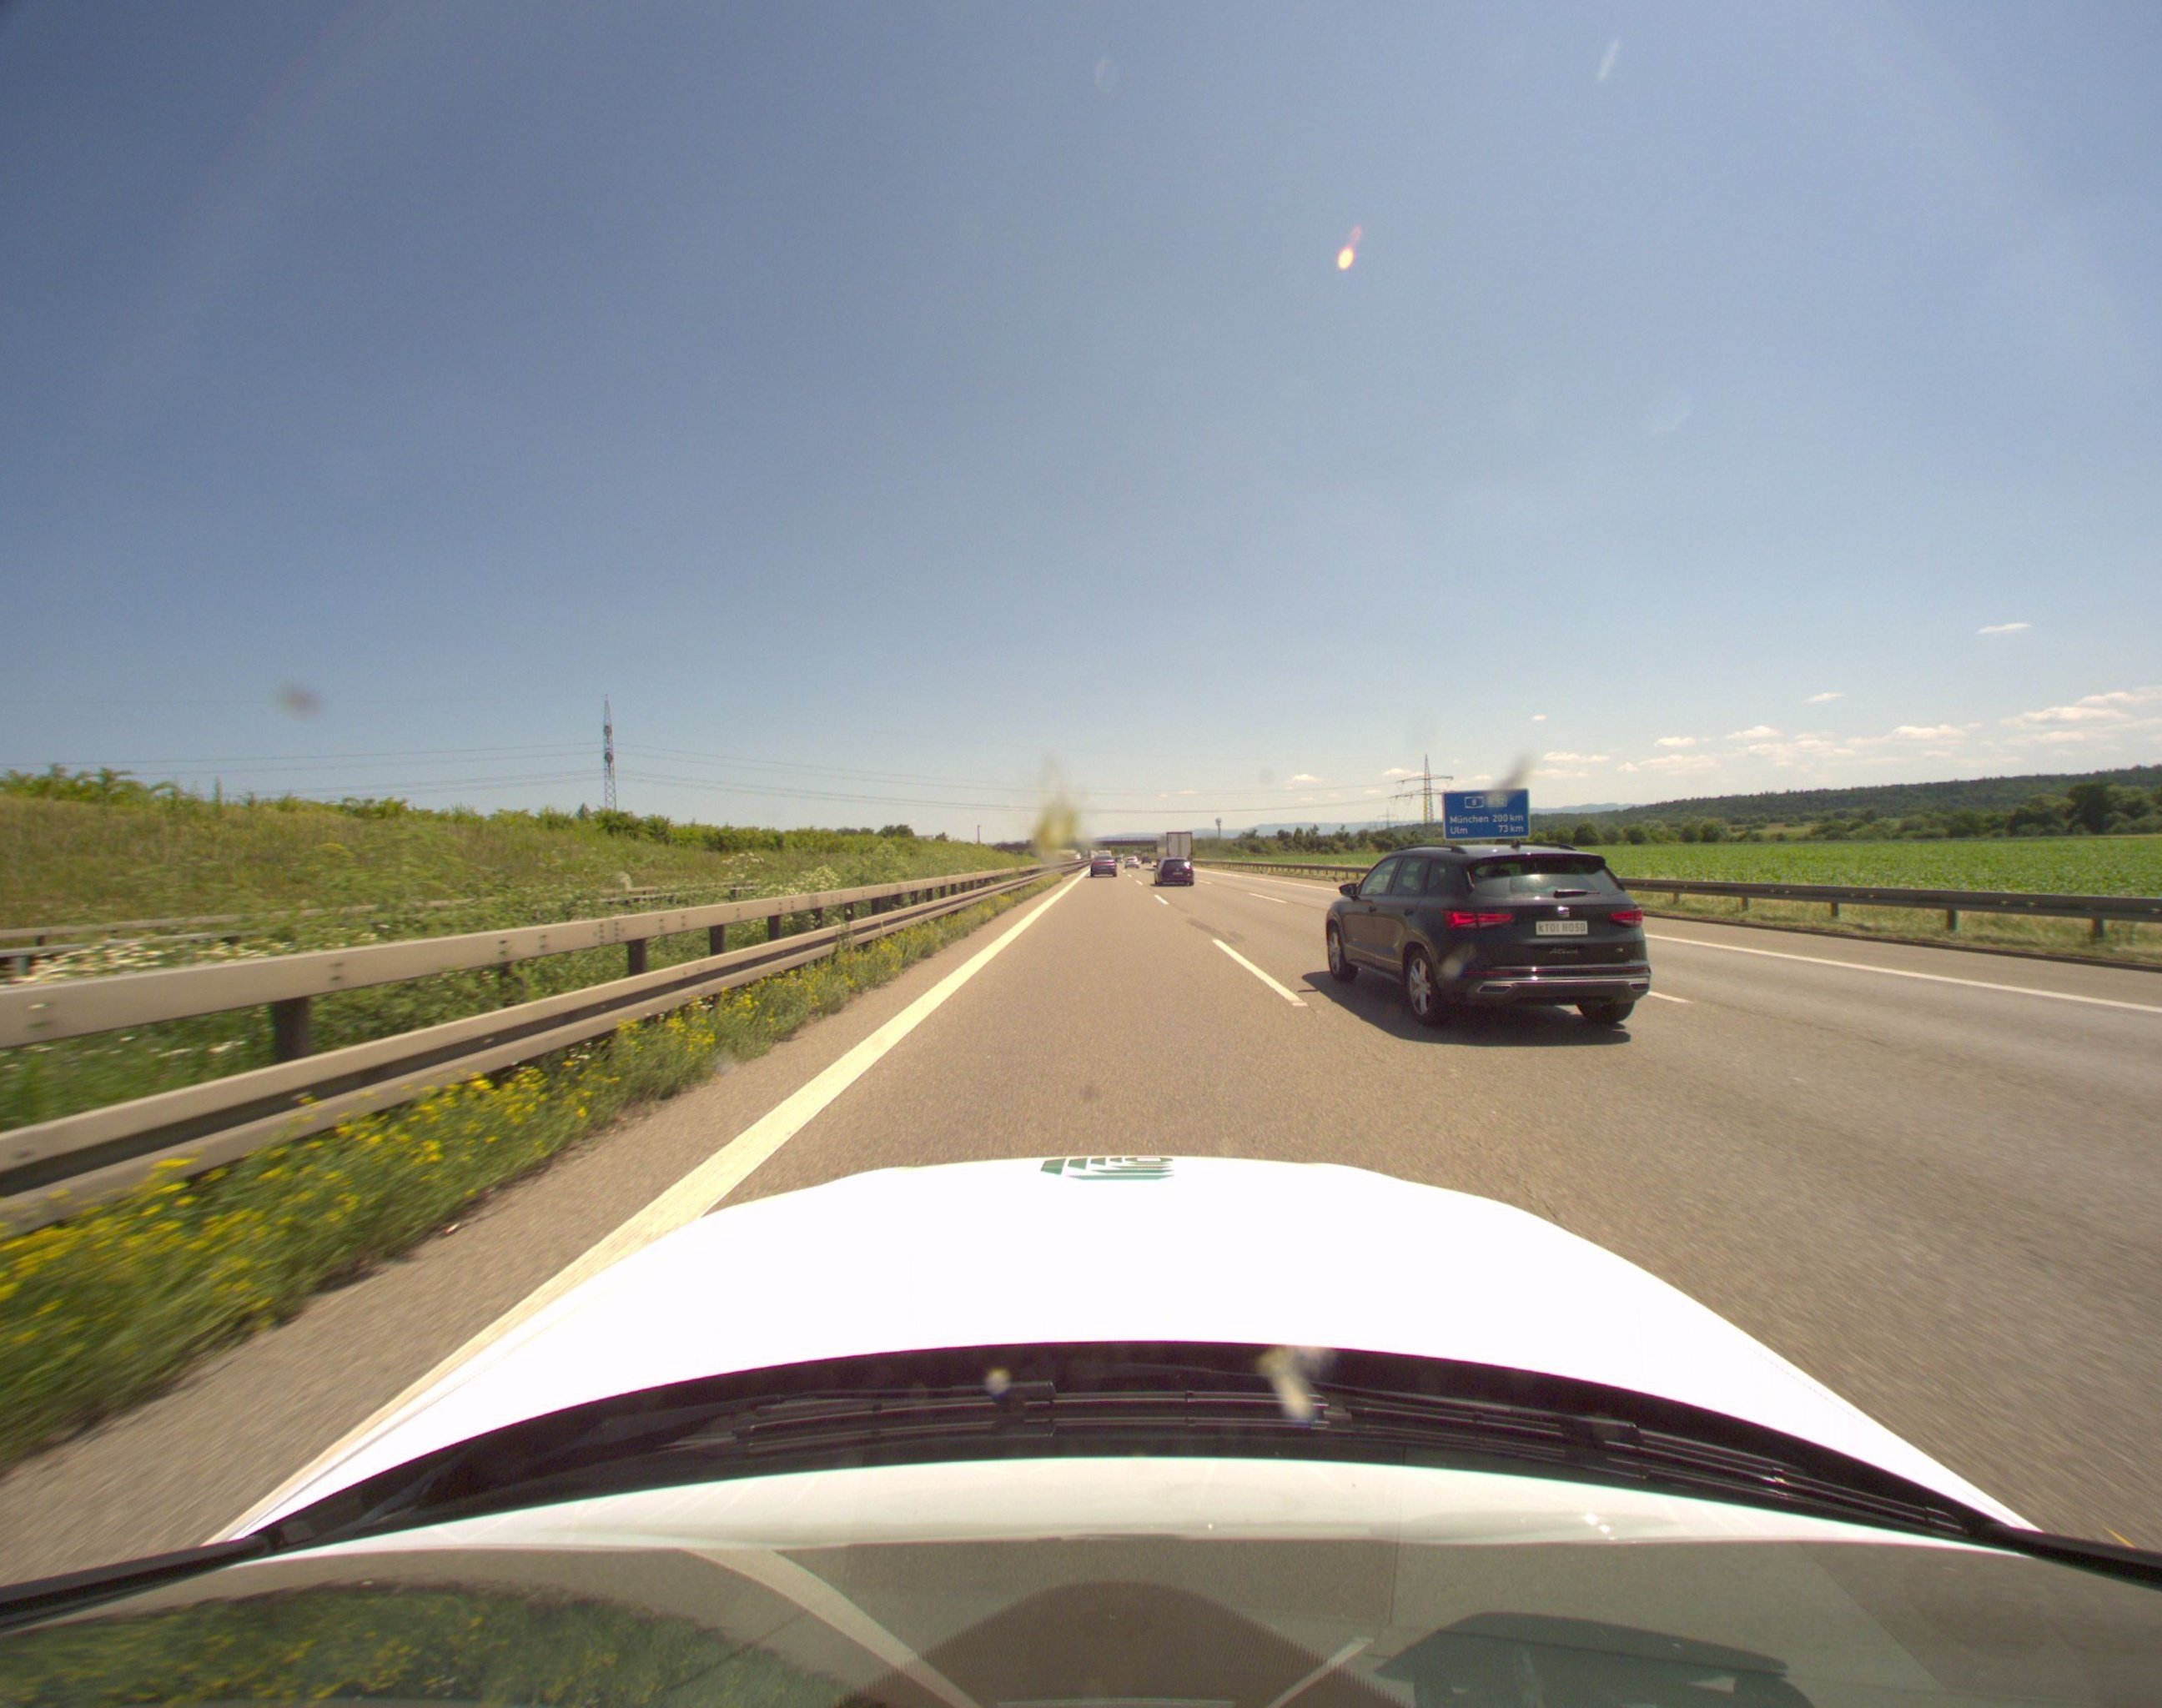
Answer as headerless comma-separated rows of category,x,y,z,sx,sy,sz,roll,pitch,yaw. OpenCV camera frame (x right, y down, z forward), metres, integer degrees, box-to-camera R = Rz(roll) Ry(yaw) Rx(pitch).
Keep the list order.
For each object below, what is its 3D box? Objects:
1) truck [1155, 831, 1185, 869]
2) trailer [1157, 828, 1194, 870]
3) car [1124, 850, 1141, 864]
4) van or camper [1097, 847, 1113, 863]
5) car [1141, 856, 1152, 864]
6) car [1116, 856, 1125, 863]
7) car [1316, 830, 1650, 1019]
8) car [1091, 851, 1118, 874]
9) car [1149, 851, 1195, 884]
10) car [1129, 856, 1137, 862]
truck,10.490,-0.445,96.449,2.968,4.227,7.690,0,0,2
trailer,10.229,-0.475,89.153,2.932,4.198,13.602,0,0,2
car,6.583,0.408,104.764,1.986,1.683,4.002,0,0,2
van or camper,3.371,0.130,114.211,2.102,2.211,5.268,0,0,2
car,12.653,1.152,157.895,1.986,1.683,4.002,0,0,2
car,9.370,1.215,192.496,1.986,1.683,4.002,0,0,2
car,3.888,0.593,8.677,1.790,1.562,3.825,0,0,2
car,1.722,0.595,61.278,1.846,1.664,3.733,0,0,-1
car,4.670,0.678,42.448,1.926,1.574,4.936,0,0,1
car,13.751,1.356,213.934,1.986,1.683,4.002,0,0,2
